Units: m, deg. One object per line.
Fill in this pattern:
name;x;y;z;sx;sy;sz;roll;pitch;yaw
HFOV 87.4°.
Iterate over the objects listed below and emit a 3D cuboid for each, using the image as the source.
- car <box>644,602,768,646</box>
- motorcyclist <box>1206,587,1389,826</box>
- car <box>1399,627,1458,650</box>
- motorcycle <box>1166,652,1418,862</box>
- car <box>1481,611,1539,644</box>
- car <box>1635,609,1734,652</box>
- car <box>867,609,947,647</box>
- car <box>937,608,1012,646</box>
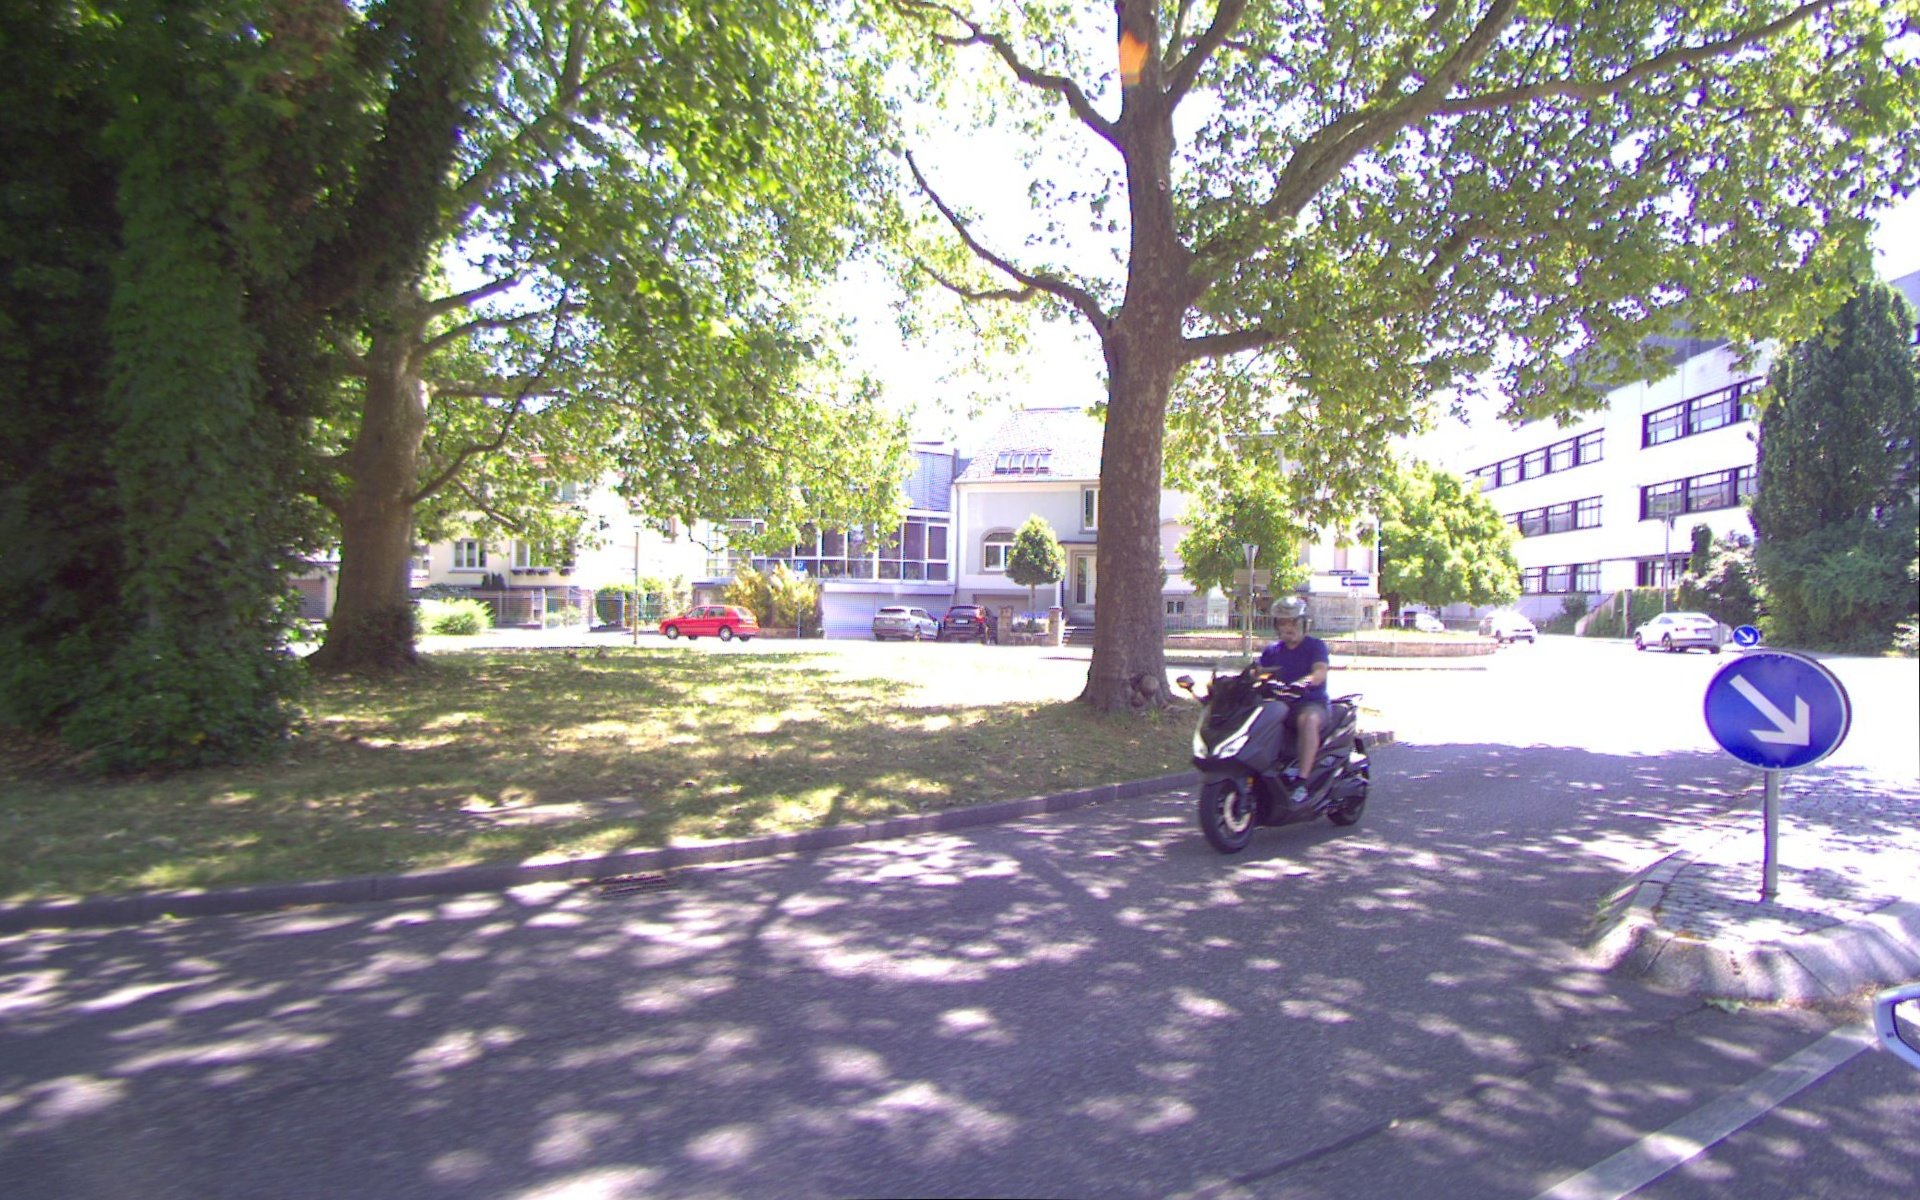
car;-10.224;0.932;40.554;4.415;1.640;2.001;1;0;16
motorcyclist;2.453;0.709;7.290;1.095;1.576;0.800;1;0;-40
car;31.694;2.586;68.035;1.730;1.454;4.302;-1;-1;-4
motorcycle;2.452;1.033;7.278;2.034;1.248;0.800;1;0;-41
car;29.659;1.472;54.263;1.841;1.645;4.305;0;0;16
car;30.521;1.220;42.477;1.903;1.636;4.473;0;1;15
car;-2.180;1.155;42.504;1.844;1.454;3.999;2;0;22
car;0.665;1.091;42.649;1.961;1.445;4.000;2;0;20
